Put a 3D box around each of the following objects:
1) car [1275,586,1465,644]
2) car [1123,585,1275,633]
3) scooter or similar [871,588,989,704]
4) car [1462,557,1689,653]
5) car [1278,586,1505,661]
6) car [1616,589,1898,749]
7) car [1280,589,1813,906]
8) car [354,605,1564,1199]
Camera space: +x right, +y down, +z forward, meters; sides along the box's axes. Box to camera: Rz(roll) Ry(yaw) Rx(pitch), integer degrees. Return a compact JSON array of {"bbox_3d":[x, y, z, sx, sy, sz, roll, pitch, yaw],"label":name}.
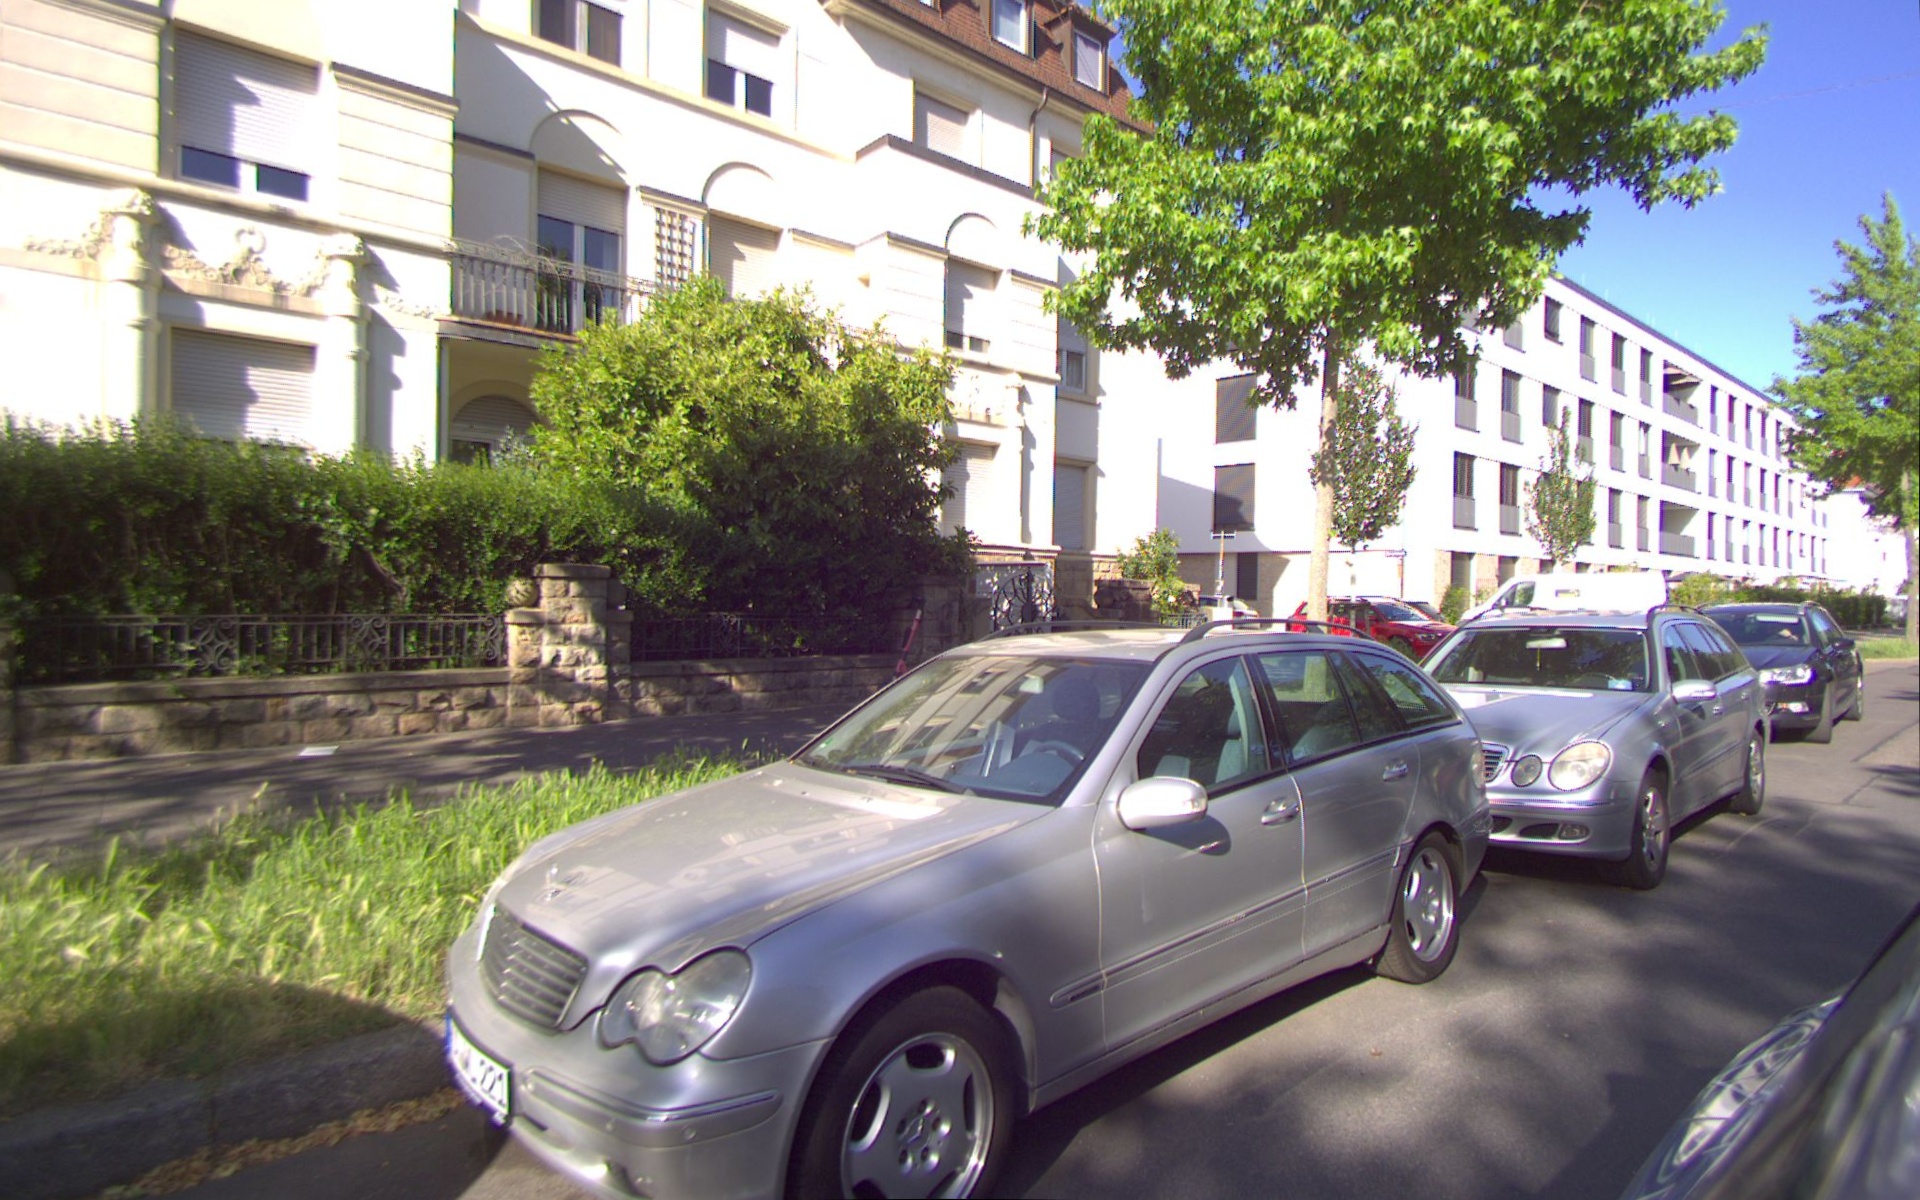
[{"bbox_3d":[12.256,0.392,30.557,2.012,1.488,4.936,1,1,-41],"label":"car"},{"bbox_3d":[8.210,0.279,35.108,1.926,1.447,4.937,3,0,-41],"label":"car"},{"bbox_3d":[-0.320,0.492,10.998,1.180,1.200,0.403,2,0,-25],"label":"scooter or similar"},{"bbox_3d":[16.453,0.074,27.435,5.008,2.334,2.214,2,1,27],"label":"car"},{"bbox_3d":[9.799,0.460,23.435,1.913,1.488,4.742,0,1,-25],"label":"car"},{"bbox_3d":[9.849,0.659,12.338,4.882,1.543,1.898,-1,1,-42],"label":"car"},{"bbox_3d":[4.331,0.700,7.059,4.824,1.488,1.824,0,0,-42],"label":"car"},{"bbox_3d":[0.565,0.739,3.923,4.778,1.428,1.713,0,0,-42],"label":"car"}]
